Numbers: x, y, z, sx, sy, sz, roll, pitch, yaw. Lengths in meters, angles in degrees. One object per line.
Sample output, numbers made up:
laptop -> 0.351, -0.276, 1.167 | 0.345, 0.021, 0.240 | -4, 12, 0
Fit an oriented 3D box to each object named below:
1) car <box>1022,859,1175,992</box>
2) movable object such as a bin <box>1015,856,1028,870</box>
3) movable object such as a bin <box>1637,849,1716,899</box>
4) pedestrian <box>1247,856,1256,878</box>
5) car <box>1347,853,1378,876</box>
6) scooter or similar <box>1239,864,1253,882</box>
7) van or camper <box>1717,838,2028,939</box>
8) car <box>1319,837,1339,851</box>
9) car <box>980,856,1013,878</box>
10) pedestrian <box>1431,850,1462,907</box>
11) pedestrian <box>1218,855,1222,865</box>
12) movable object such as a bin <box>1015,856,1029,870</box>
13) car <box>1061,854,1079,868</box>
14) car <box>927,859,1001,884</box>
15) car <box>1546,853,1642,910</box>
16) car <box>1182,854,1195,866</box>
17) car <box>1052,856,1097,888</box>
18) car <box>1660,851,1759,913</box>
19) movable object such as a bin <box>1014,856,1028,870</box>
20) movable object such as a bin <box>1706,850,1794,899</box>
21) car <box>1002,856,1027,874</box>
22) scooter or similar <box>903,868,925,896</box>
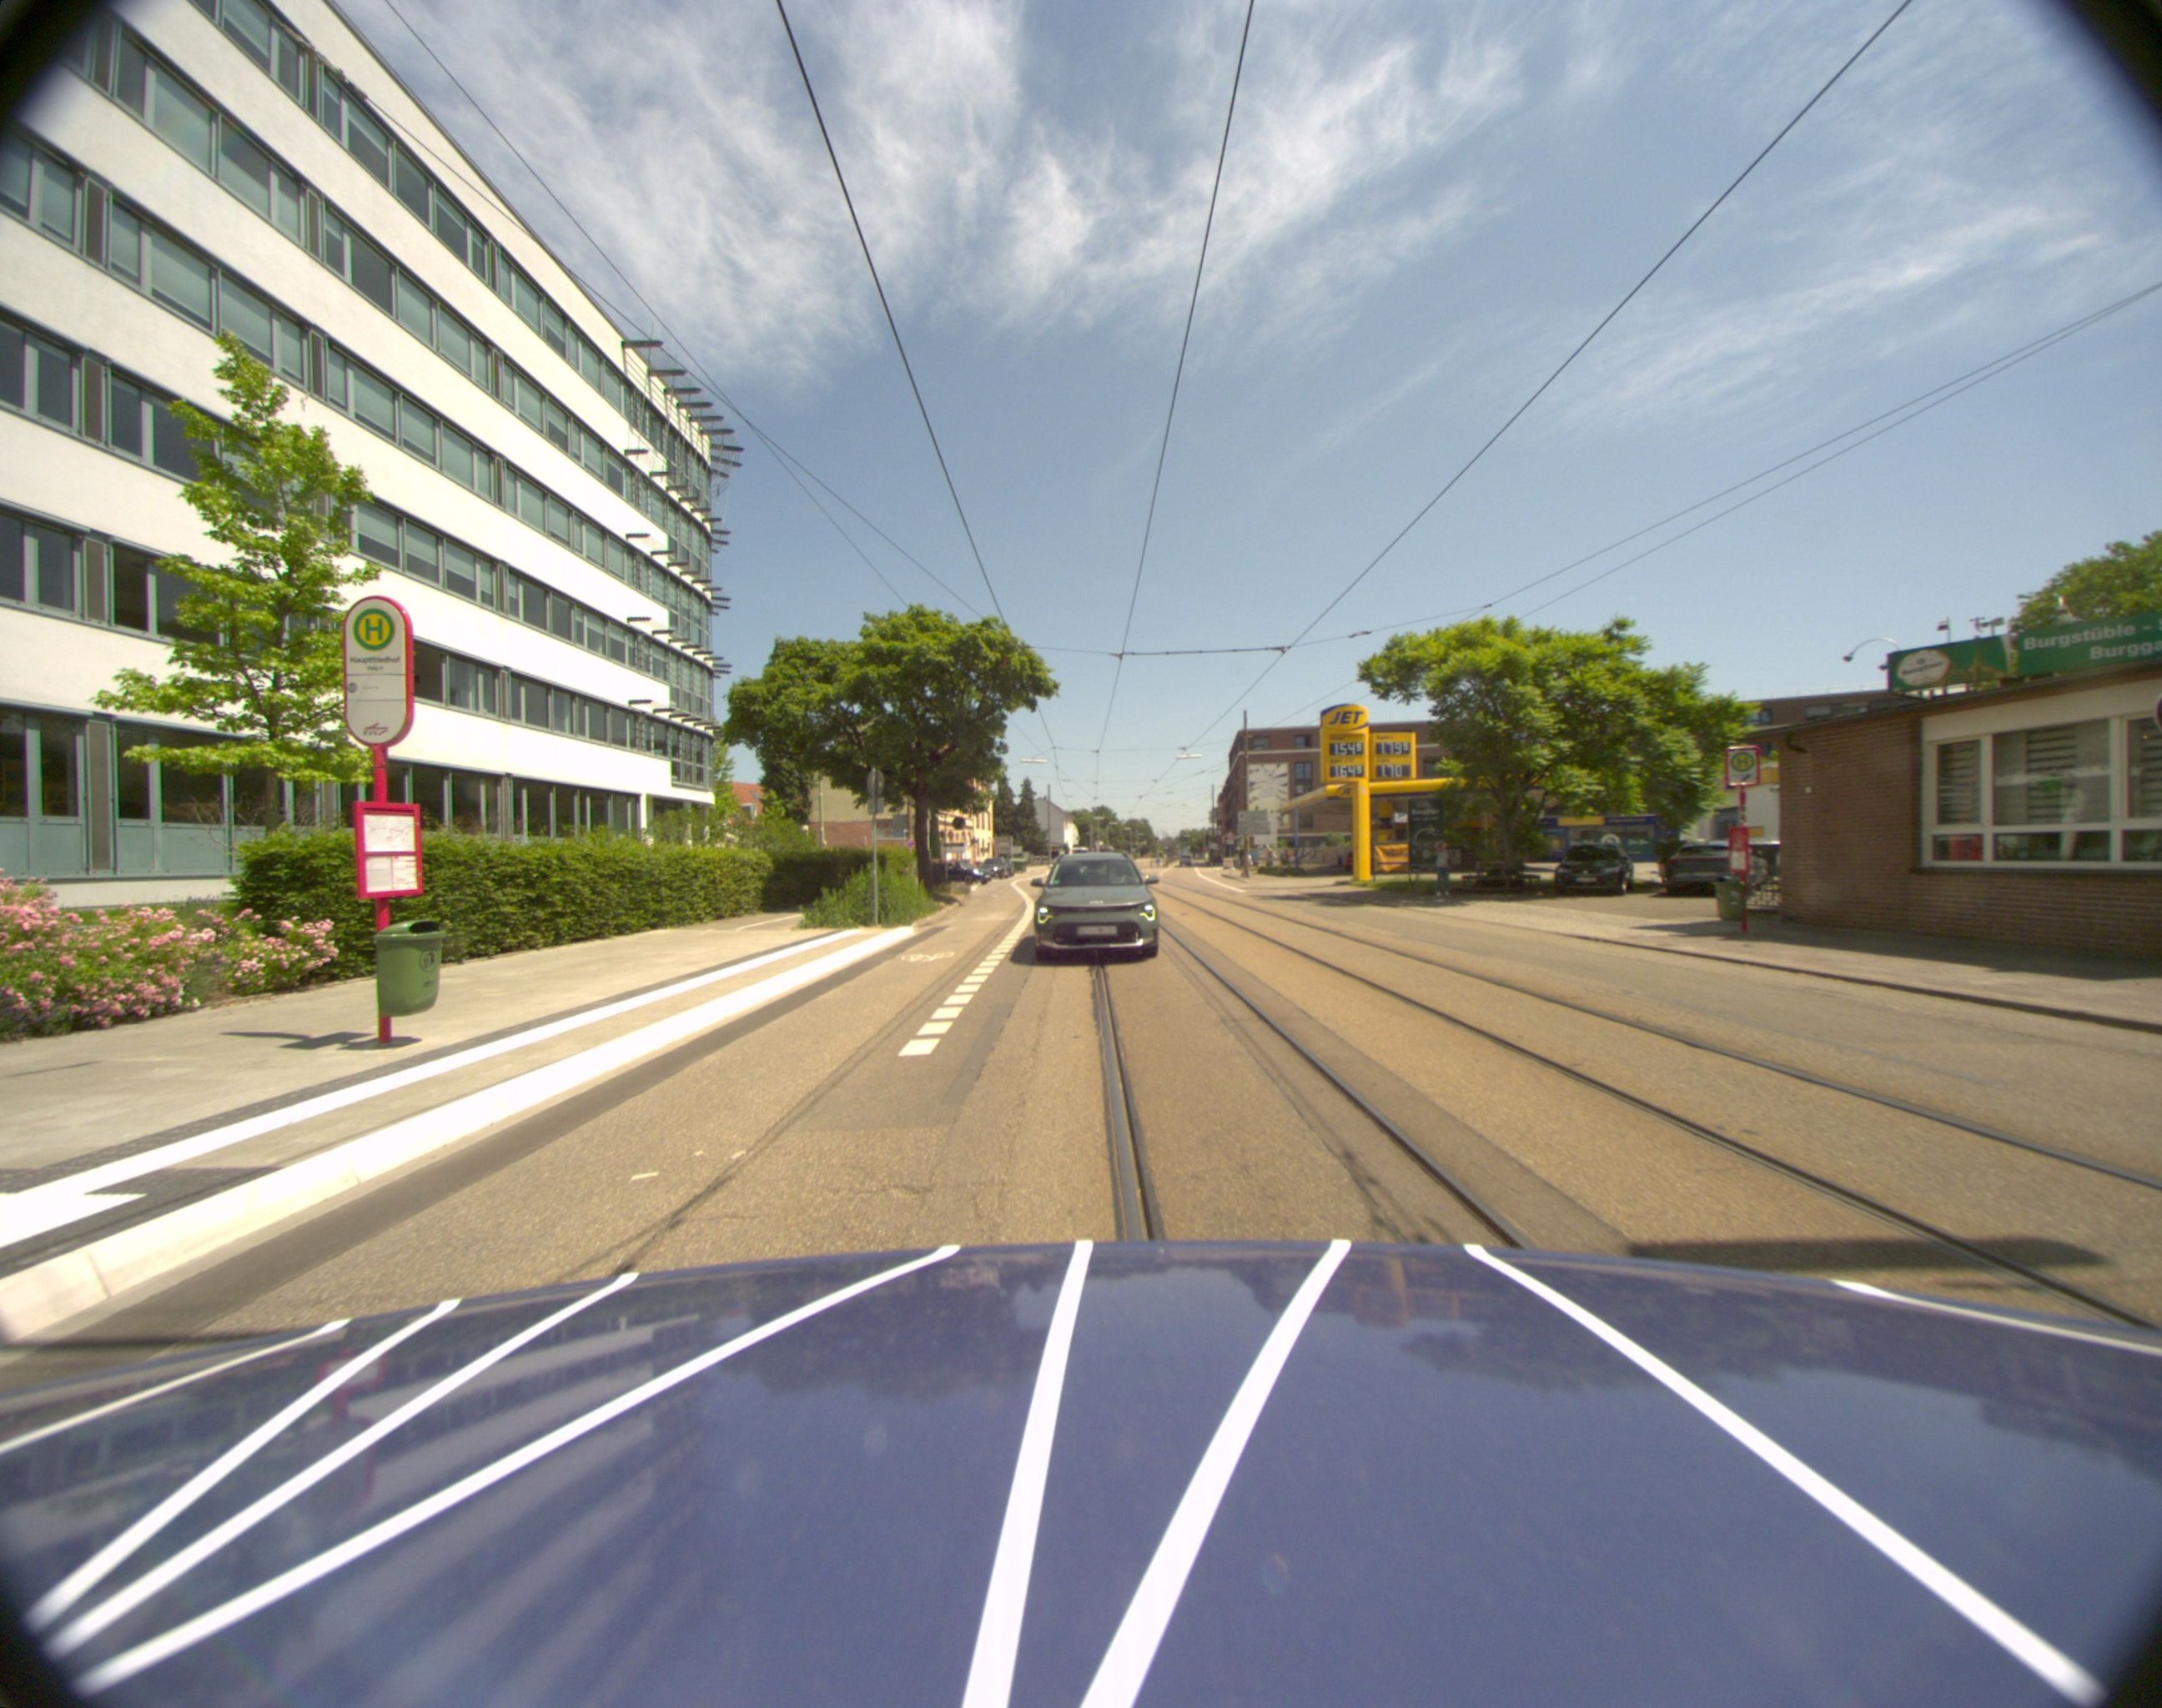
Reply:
car -> 0.181, 0.885, 11.533 | 1.827, 1.546, 4.486 | -2, 0, -1
movable object such as a bin -> -6.088, 0.920, 77.408 | 1.250, 1.446, 1.057 | 1, 0, -3
movable object such as a bin -> 19.207, 0.632, 24.595 | 1.522, 1.500, 2.103 | -2, 0, 25
pedestrian -> 13.066, 1.010, 58.209 | 0.626, 1.681, 0.723 | -1, 0, 13
car -> 20.643, 0.768, 55.583 | 1.827, 1.495, 4.207 | -3, -2, 24
scooter or similar -> 10.877, 1.253, 50.195 | 0.520, 1.193, 1.376 | -2, 0, -2
van or camper -> 14.625, 0.616, 14.229 | 3.793, 1.619, 1.872 | -2, -1, 0
car -> 27.909, -1.141, 85.522 | 1.734, 1.459, 4.004 | -2, 0, 12
car -> -6.747, 1.022, 61.087 | 1.929, 1.683, 5.082 | 1, 0, 2
pedestrian -> 11.643, 0.764, 24.223 | 0.581, 1.765, 0.699 | -2, 0, -3
pedestrian -> 22.913, 1.004, 125.145 | 0.604, 1.586, 0.715 | -1, 0, 6
movable object such as a bin -> -6.105, 0.921, 78.504 | 1.396, 1.446, 1.139 | 1, 0, -3
car -> -1.187, 0.793, 85.557 | 1.748, 1.546, 4.488 | -2, 0, 3
car -> -6.797, 0.982, 44.168 | 3.917, 1.364, 1.706 | 0, 1, 25
car -> 15.752, 0.783, 23.234 | 1.930, 1.480, 4.460 | -2, 0, 40
car -> 17.494, 0.994, 123.915 | 1.997, 1.789, 4.555 | -2, 1, 8
car -> -0.292, 0.894, 39.993 | 1.748, 1.546, 4.489 | -2, 0, 7
car -> 17.733, 0.728, 21.449 | 1.930, 1.480, 4.460 | -2, 0, 40
movable object such as a bin -> -6.055, 0.902, 76.344 | 1.327, 1.446, 1.057 | 1, 0, -3
movable object such as a bin -> 20.878, 0.617, 23.797 | 1.522, 1.423, 2.103 | -2, 0, 25
car -> -5.919, 0.950, 67.901 | 1.777, 1.539, 4.467 | 1, 0, 1
scooter or similar -> -7.571, 1.260, 34.547 | 0.326, 1.215, 1.153 | -2, 0, 22
